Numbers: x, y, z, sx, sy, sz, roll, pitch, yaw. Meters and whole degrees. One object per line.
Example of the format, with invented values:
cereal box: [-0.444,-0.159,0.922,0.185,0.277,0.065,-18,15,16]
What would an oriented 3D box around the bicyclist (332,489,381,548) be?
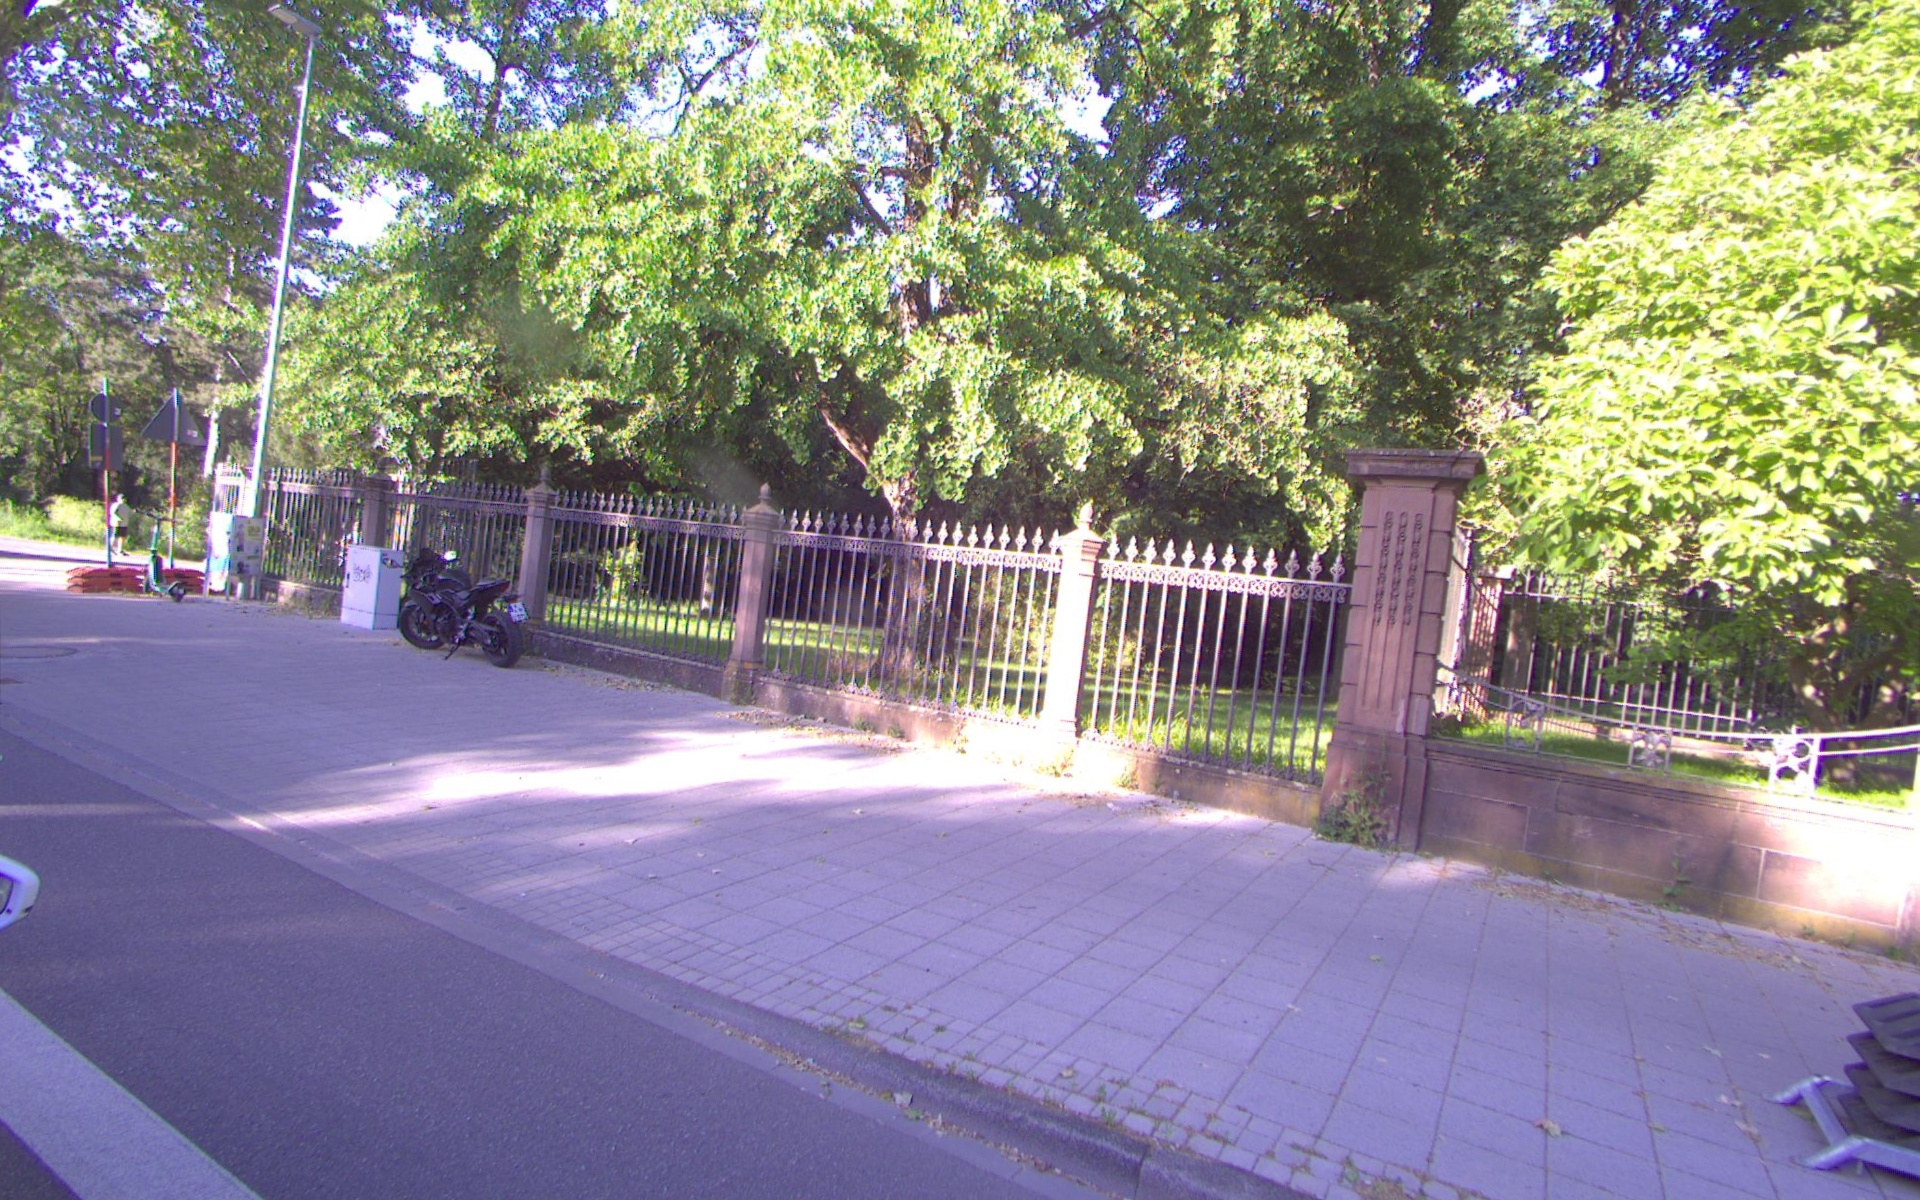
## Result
bicyclist: [-16.520,-2.231,27.562,0.654,1.448,0.784,7,-1,26]

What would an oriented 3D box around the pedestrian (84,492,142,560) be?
pedestrian: [-21.013,-1.844,24.957,0.903,1.536,0.818,7,-1,39]

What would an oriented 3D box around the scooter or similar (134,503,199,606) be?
scooter or similar: [-11.190,-0.651,14.186,1.152,1.344,0.228,7,2,30]

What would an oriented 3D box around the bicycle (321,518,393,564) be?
bicycle: [-16.559,-1.607,27.669,0.466,1.026,1.621,7,-1,26]

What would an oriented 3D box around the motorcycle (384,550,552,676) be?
motorcycle: [-5.466,0.117,11.124,2.134,1.146,0.506,7,2,30]

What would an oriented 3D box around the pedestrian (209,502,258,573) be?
pedestrian: [-18.880,-1.621,26.148,0.633,1.719,0.690,7,0,31]
